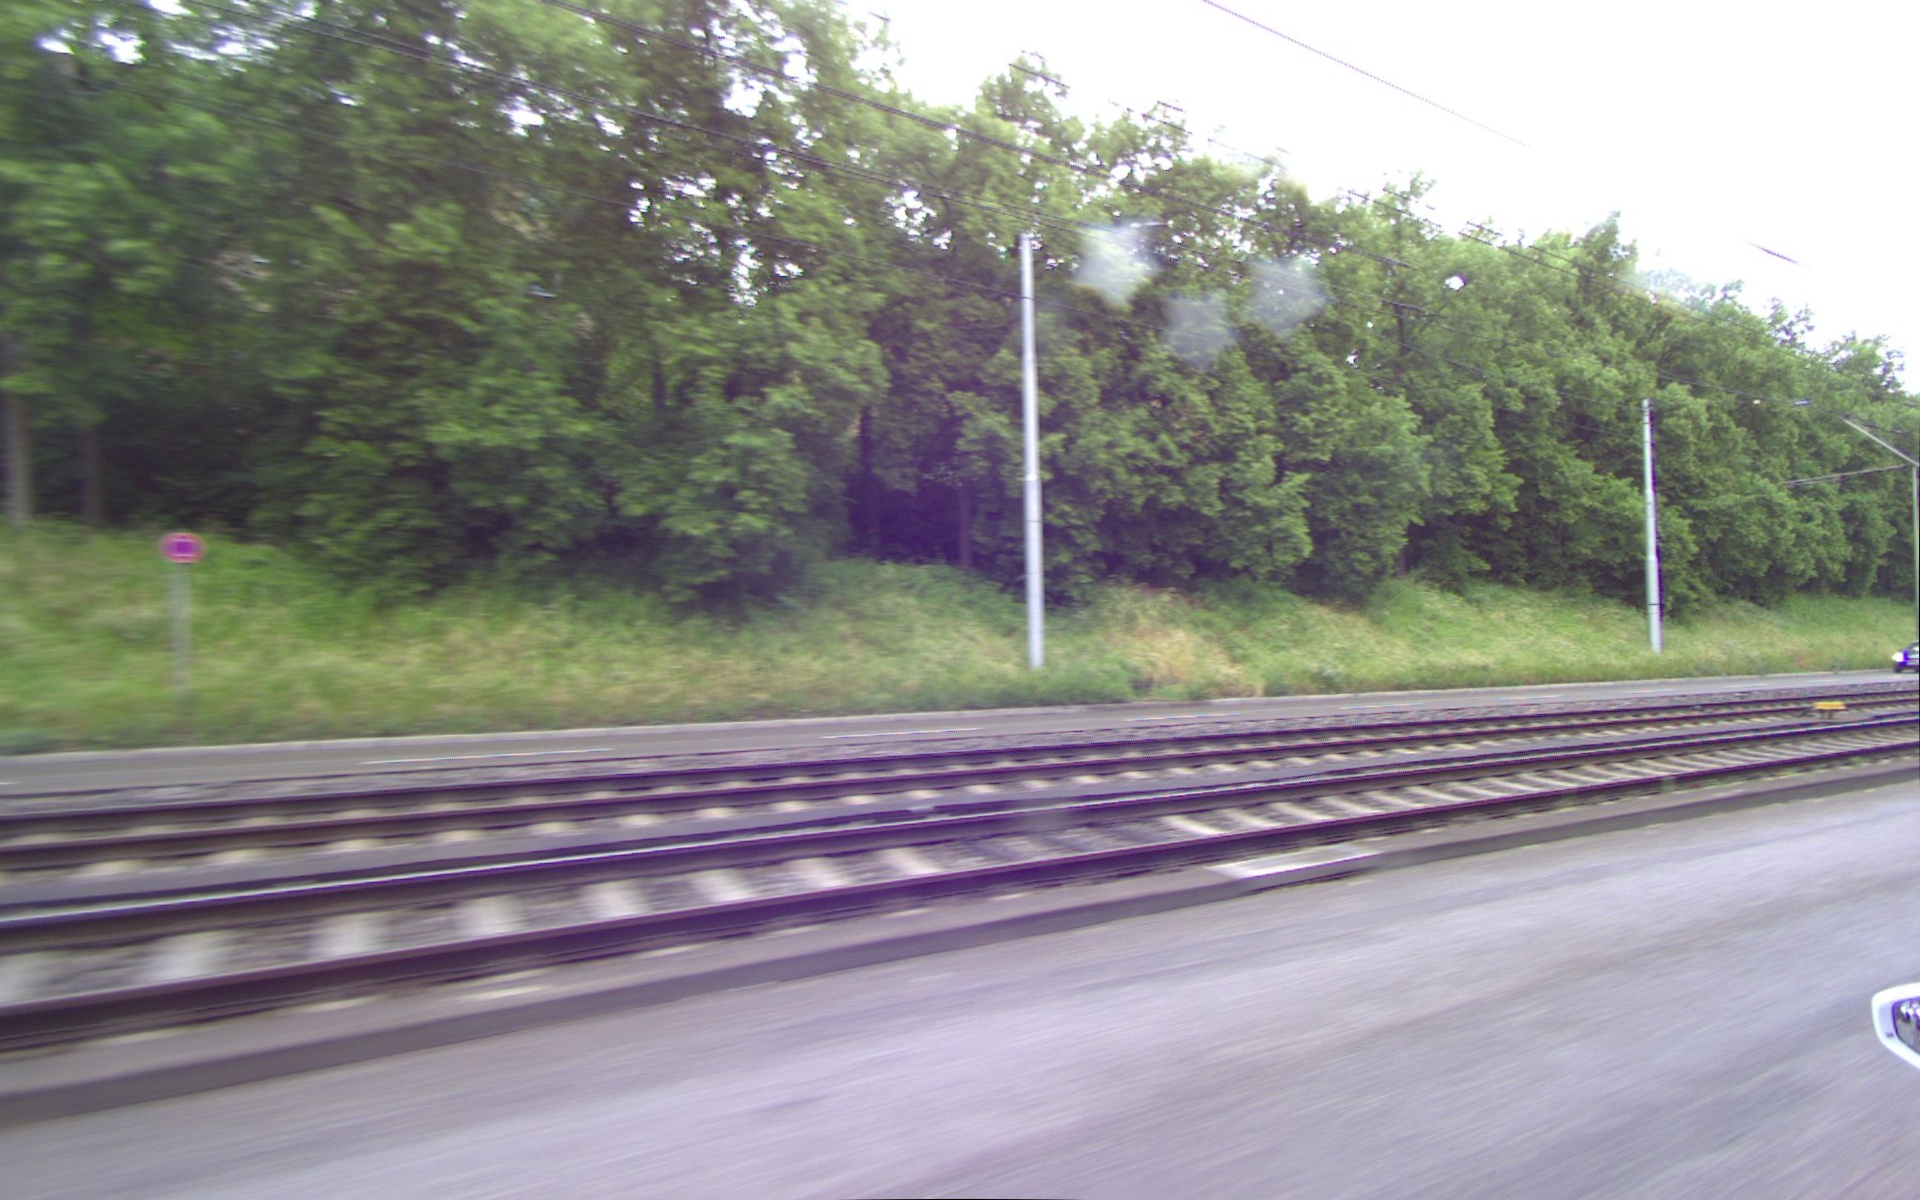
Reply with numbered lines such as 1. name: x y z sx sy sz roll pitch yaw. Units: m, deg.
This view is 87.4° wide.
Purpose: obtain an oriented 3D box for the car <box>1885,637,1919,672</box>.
1. car: 44.519 2.495 46.329 3.919 1.572 1.775 2 -4 -33
